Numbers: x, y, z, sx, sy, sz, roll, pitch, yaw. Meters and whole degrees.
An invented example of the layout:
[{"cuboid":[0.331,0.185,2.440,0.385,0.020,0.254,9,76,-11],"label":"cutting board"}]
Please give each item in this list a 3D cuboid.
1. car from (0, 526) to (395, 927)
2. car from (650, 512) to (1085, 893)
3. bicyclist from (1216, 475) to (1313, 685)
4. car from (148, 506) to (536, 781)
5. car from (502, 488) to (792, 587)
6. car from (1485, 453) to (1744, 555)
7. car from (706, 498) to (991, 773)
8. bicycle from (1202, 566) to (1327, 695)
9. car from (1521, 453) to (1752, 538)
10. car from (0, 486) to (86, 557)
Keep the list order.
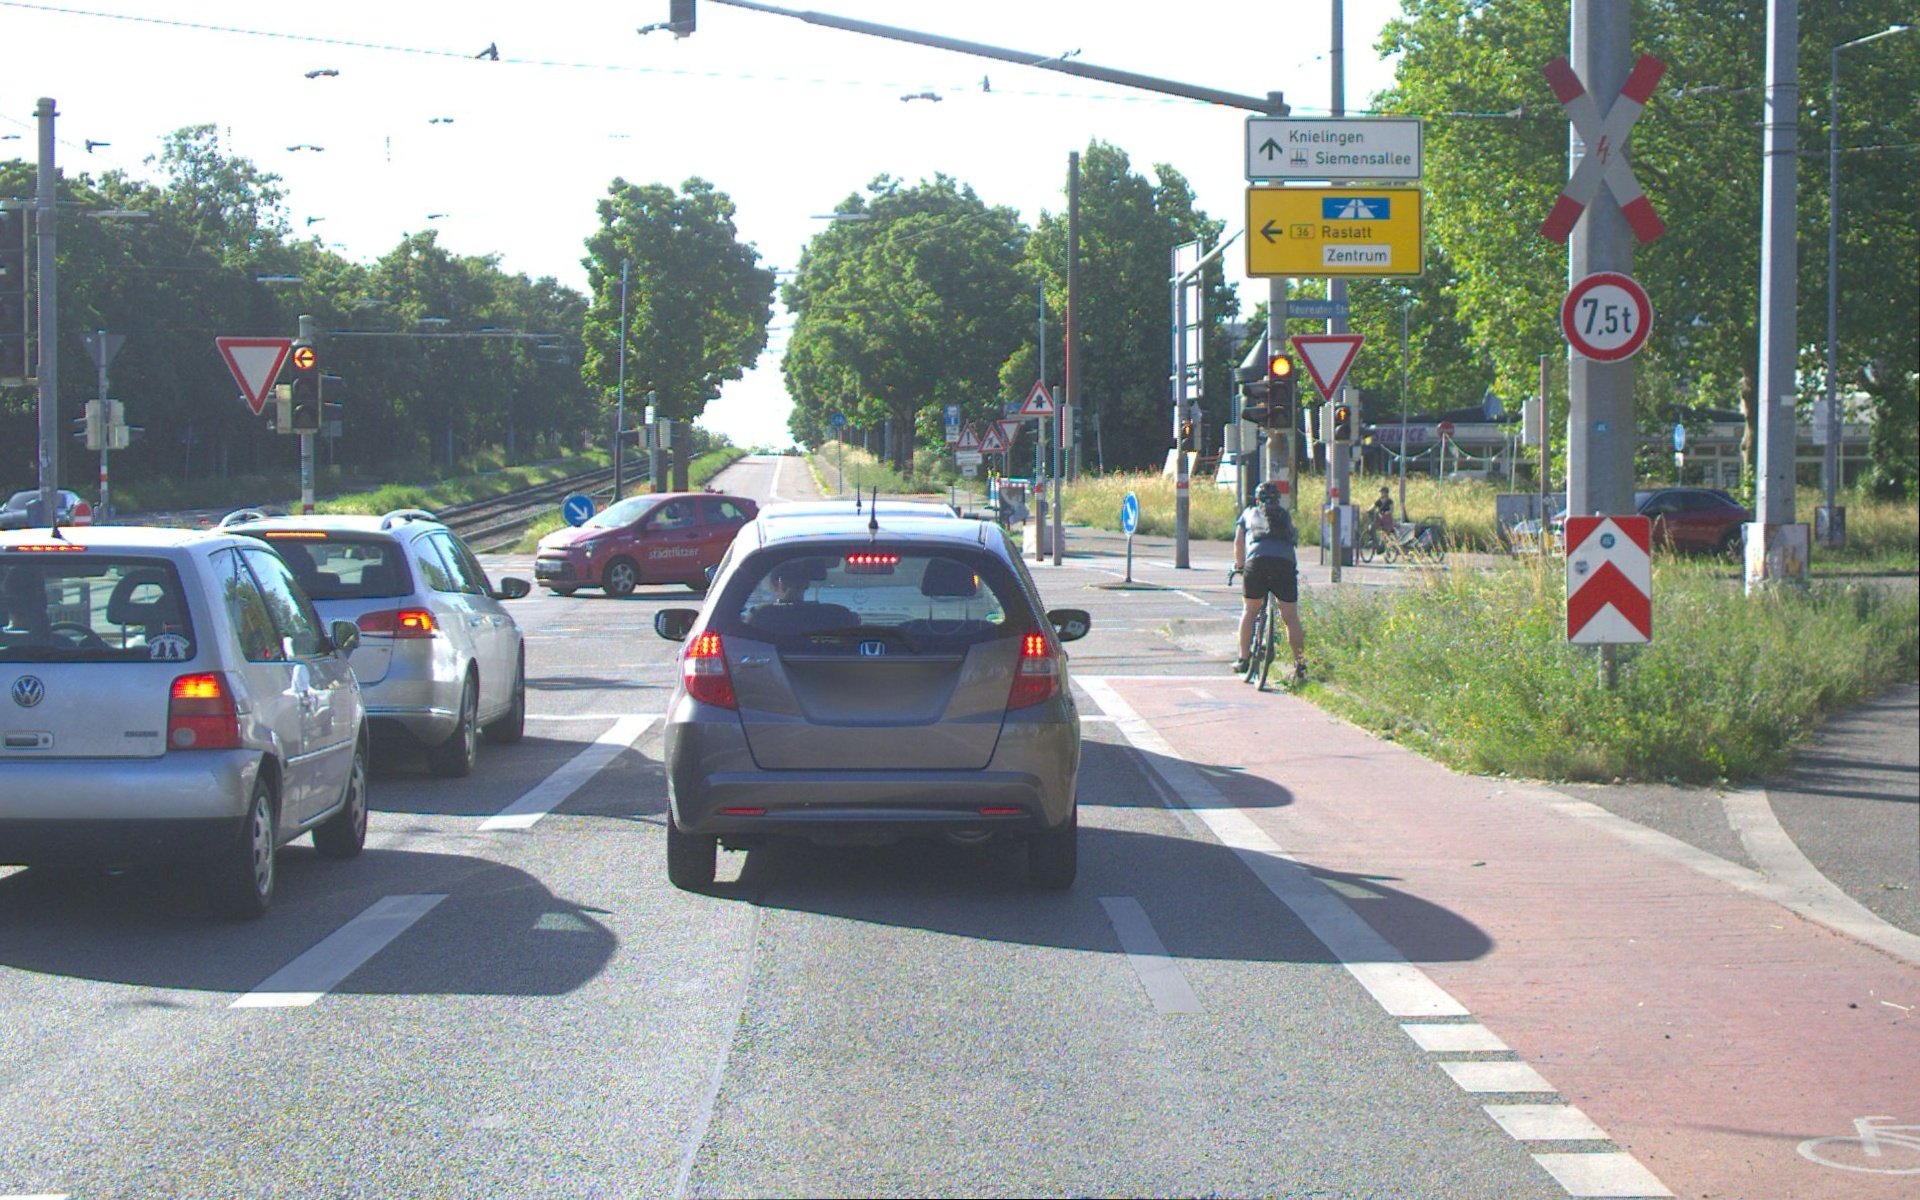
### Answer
[{"cuboid":[-3.342,0.420,13.846,1.619,1.413,3.351,-1,1,-1],"label":"car"},{"cuboid":[-0.440,0.351,15.030,1.668,1.457,3.587,0,2,-3],"label":"car"},{"cuboid":[2.546,-0.175,28.819,0.666,1.710,0.948,1,1,-1],"label":"bicyclist"},{"cuboid":[-3.560,0.193,20.448,1.619,1.452,4.085,1,1,-1],"label":"car"},{"cuboid":[-4.562,-0.944,50.409,4.004,1.398,1.609,-2,2,-38],"label":"car"},{"cuboid":[12.961,-1.888,68.085,4.686,1.873,2.001,1,1,-23],"label":"car"},{"cuboid":[-0.669,0.148,21.665,1.611,1.557,4.288,0,1,-1],"label":"car"},{"cuboid":[2.534,0.228,28.907,0.722,0.985,2.876,1,1,-1],"label":"bicycle"},{"cuboid":[12.539,-1.952,63.733,3.986,1.525,1.606,-1,2,-23],"label":"car"},{"cuboid":[-22.084,-1.897,81.810,1.993,1.599,4.757,1,2,-8],"label":"car"}]
